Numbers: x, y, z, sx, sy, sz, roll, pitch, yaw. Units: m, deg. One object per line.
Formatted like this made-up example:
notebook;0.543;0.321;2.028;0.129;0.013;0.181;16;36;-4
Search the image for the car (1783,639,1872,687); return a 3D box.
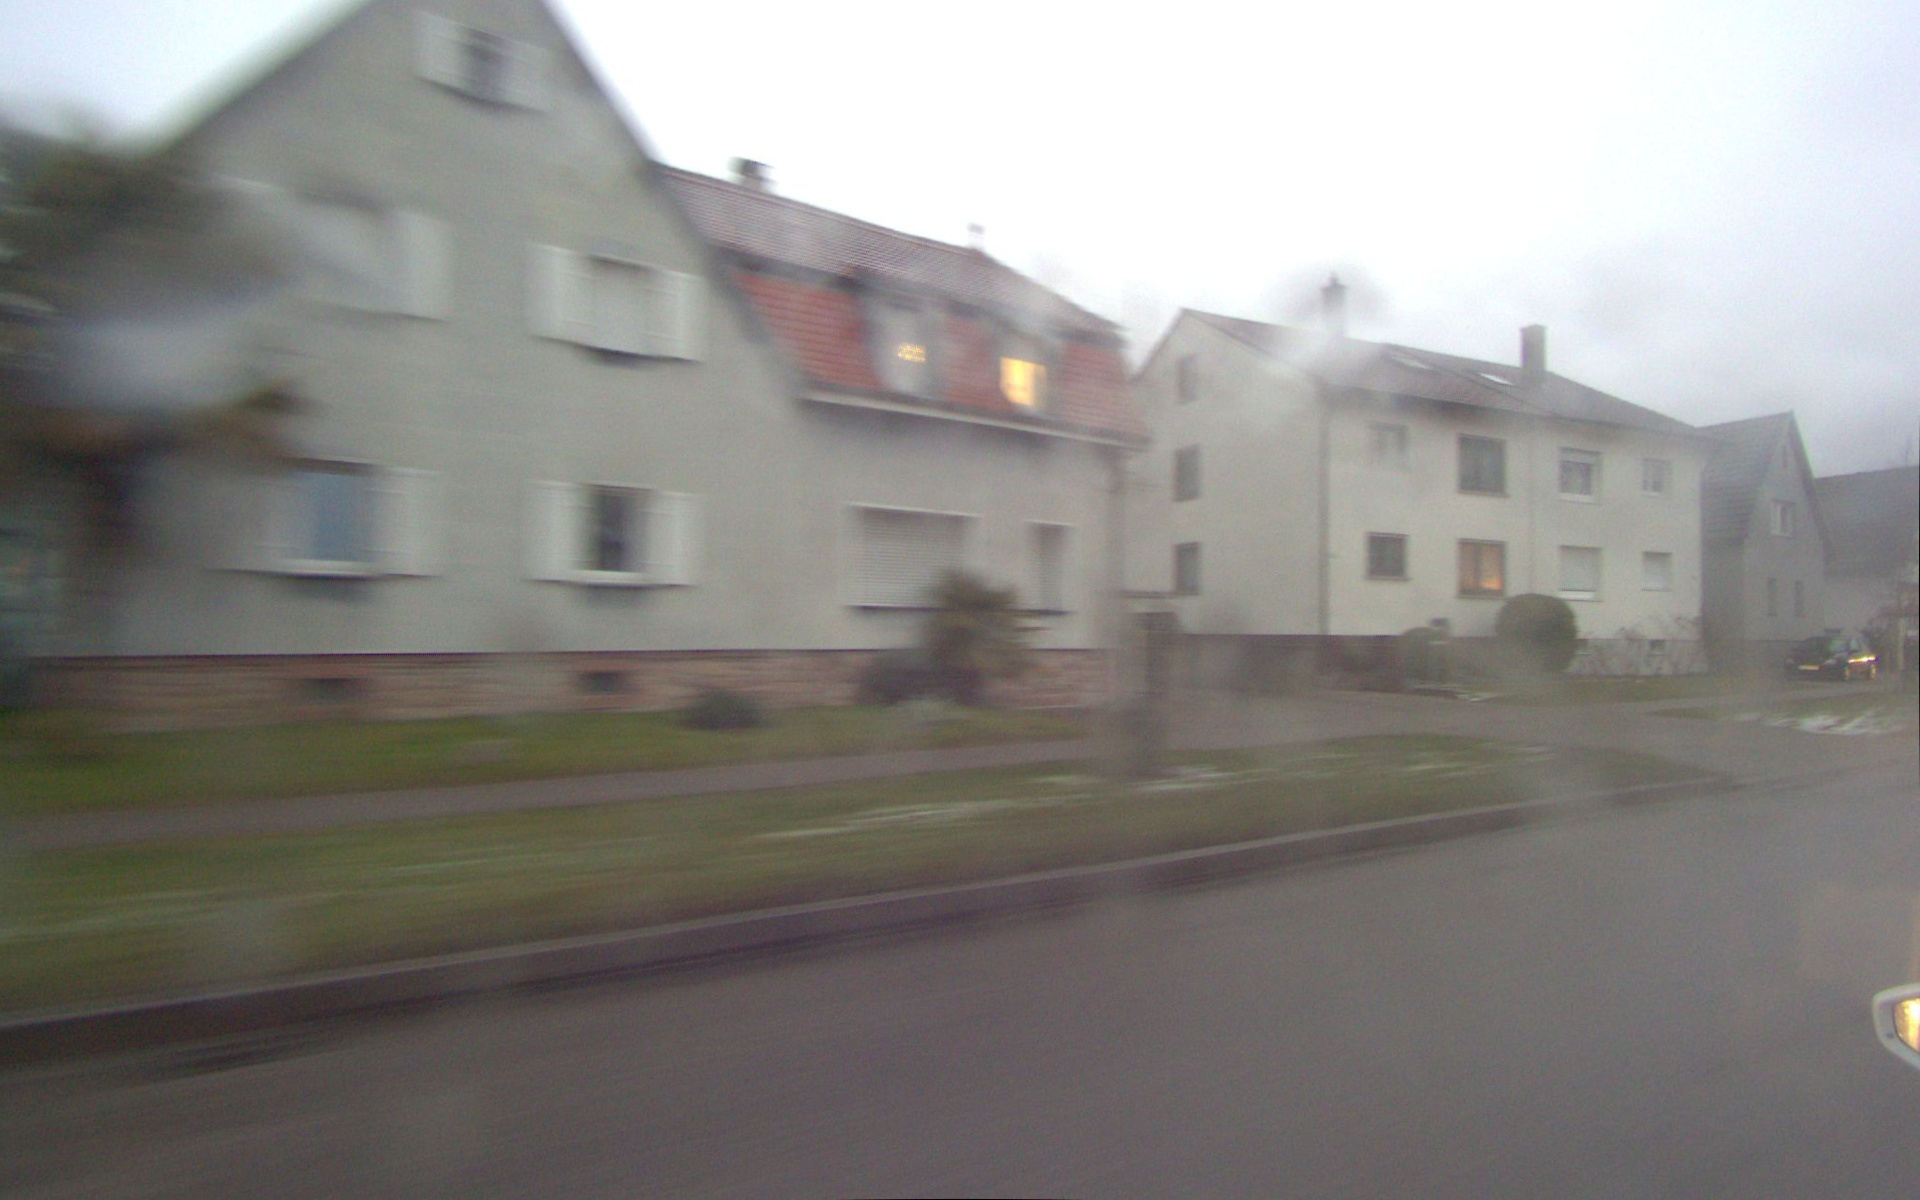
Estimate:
car;28.579;2.032;33.054;3.971;1.411;1.761;3;0;-42
